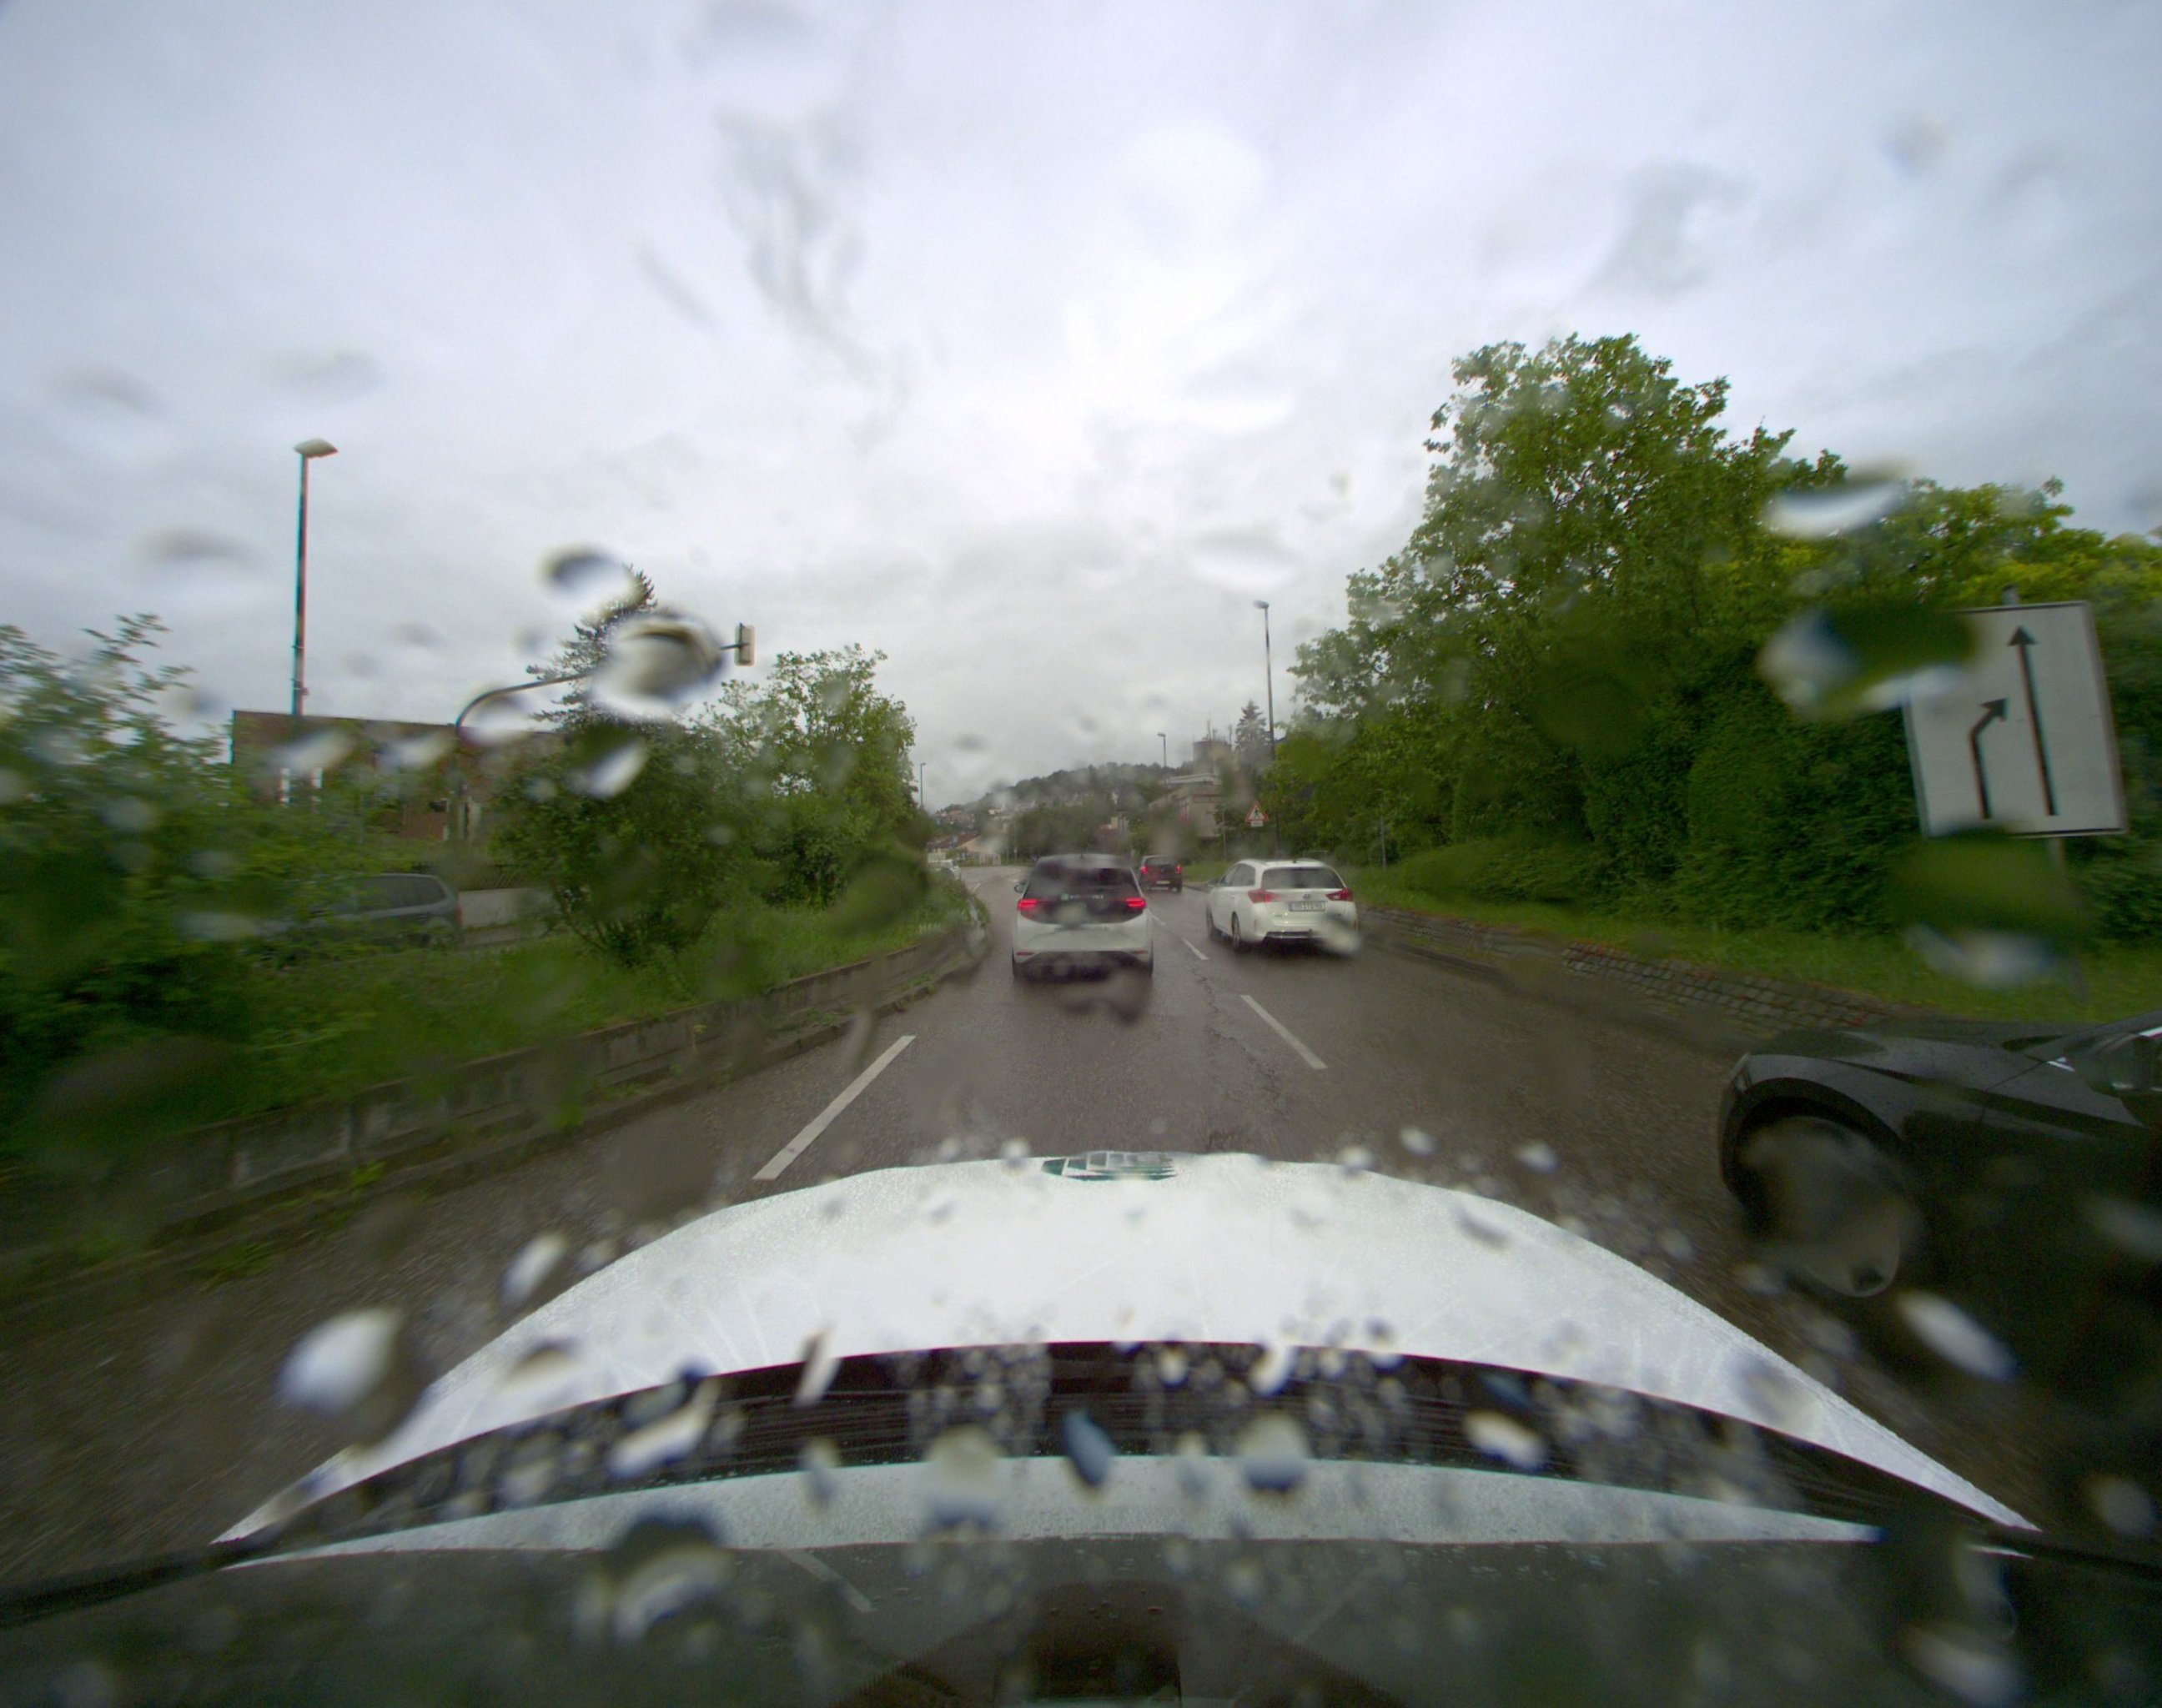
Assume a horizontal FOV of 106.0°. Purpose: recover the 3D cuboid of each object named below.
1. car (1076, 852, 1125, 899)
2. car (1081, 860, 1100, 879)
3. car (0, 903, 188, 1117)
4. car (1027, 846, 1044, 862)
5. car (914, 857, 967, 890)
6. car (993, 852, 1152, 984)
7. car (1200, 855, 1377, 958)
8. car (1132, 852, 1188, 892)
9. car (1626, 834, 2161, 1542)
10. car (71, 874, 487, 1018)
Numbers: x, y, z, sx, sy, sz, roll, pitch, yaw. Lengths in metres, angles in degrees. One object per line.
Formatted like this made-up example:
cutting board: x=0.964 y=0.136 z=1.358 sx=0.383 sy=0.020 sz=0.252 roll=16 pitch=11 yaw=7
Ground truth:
car: x=0.637 y=0.706 z=28.671 sx=1.562 sy=1.530 sz=3.998 roll=-1 pitch=0 yaw=-1
car: x=1.046 y=1.626 z=86.586 sx=1.986 sy=2.014 sz=4.001 roll=0 pitch=-1 yaw=2
car: x=-8.397 y=1.089 z=4.494 sx=1.986 sy=1.414 sz=4.431 roll=-2 pitch=-1 yaw=1
car: x=-5.861 y=0.014 z=105.219 sx=1.987 sy=2.014 sz=3.999 roll=0 pitch=-1 yaw=0
car: x=-7.740 y=1.067 z=45.298 sx=1.986 sy=1.662 sz=4.598 roll=-2 pitch=-1 yaw=1
car: x=-0.028 y=0.778 z=11.531 sx=1.822 sy=1.500 sz=4.170 roll=-1 pitch=-1 yaw=2
car: x=3.225 y=0.770 z=13.591 sx=1.842 sy=1.410 sz=4.300 roll=-1 pitch=-1 yaw=0
car: x=3.187 y=0.734 z=33.676 sx=1.986 sy=1.453 sz=3.772 roll=-4 pitch=-1 yaw=2
car: x=3.287 y=0.719 z=1.174 sx=1.948 sy=1.507 sz=4.607 roll=1 pitch=-1 yaw=0
car: x=-11.123 y=1.160 z=11.816 sx=1.987 sy=1.578 sz=4.000 roll=-2 pitch=0 yaw=1
